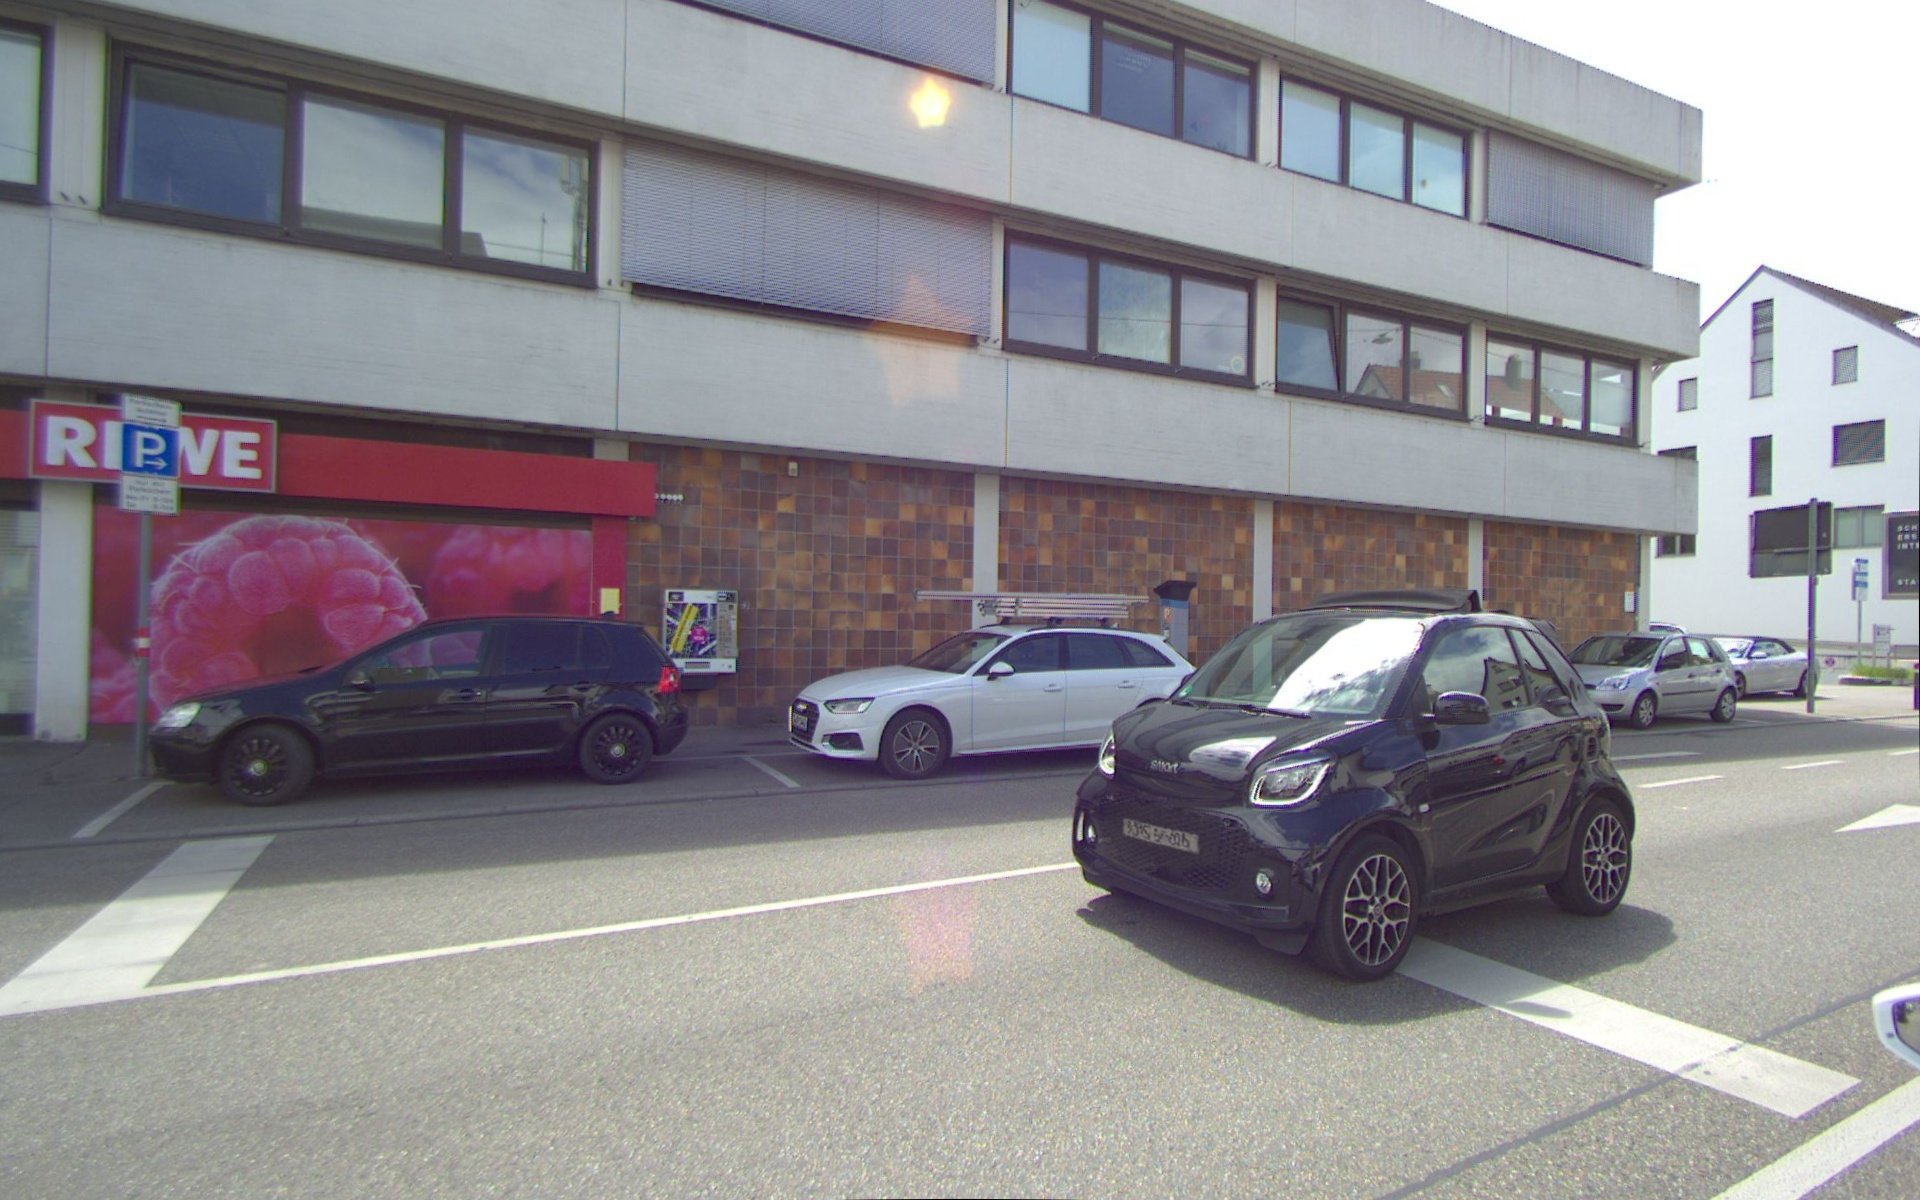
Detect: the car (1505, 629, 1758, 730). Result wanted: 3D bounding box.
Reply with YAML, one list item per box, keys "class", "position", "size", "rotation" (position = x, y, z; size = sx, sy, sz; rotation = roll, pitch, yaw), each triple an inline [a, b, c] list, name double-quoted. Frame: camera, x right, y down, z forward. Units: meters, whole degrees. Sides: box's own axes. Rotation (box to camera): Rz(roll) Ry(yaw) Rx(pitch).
- class: "car"
  position: [11.068, 1.230, 16.526]
  size: [4.095, 1.441, 1.715]
  rotation: [1, 0, -28]

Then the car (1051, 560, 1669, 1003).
- class: "car"
  position: [2.091, 0.721, 5.231]
  size: [2.802, 1.657, 1.668]
  rotation: [1, -2, -32]

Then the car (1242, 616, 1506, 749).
- class: "car"
  position: [5.566, 1.029, 13.534]
  size: [3.016, 1.576, 1.730]
  rotation: [1, 0, -27]

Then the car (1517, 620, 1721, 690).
- class: "car"
  position: [16.676, 1.362, 25.401]
  size: [4.860, 1.640, 1.947]
  rotation: [1, -4, -24]

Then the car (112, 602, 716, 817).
- class: "car"
  position: [-4.536, 0.804, 8.944]
  size: [4.232, 1.495, 2.036]
  rotation: [1, 0, -28]

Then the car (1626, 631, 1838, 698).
- class: "car"
  position: [17.672, 1.430, 22.960]
  size: [4.791, 1.376, 1.945]
  rotation: [1, -1, -26]

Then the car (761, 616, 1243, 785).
- class: "car"
  position: [0.501, 0.949, 10.929]
  size: [4.888, 1.463, 2.037]
  rotation: [1, 0, -27]
